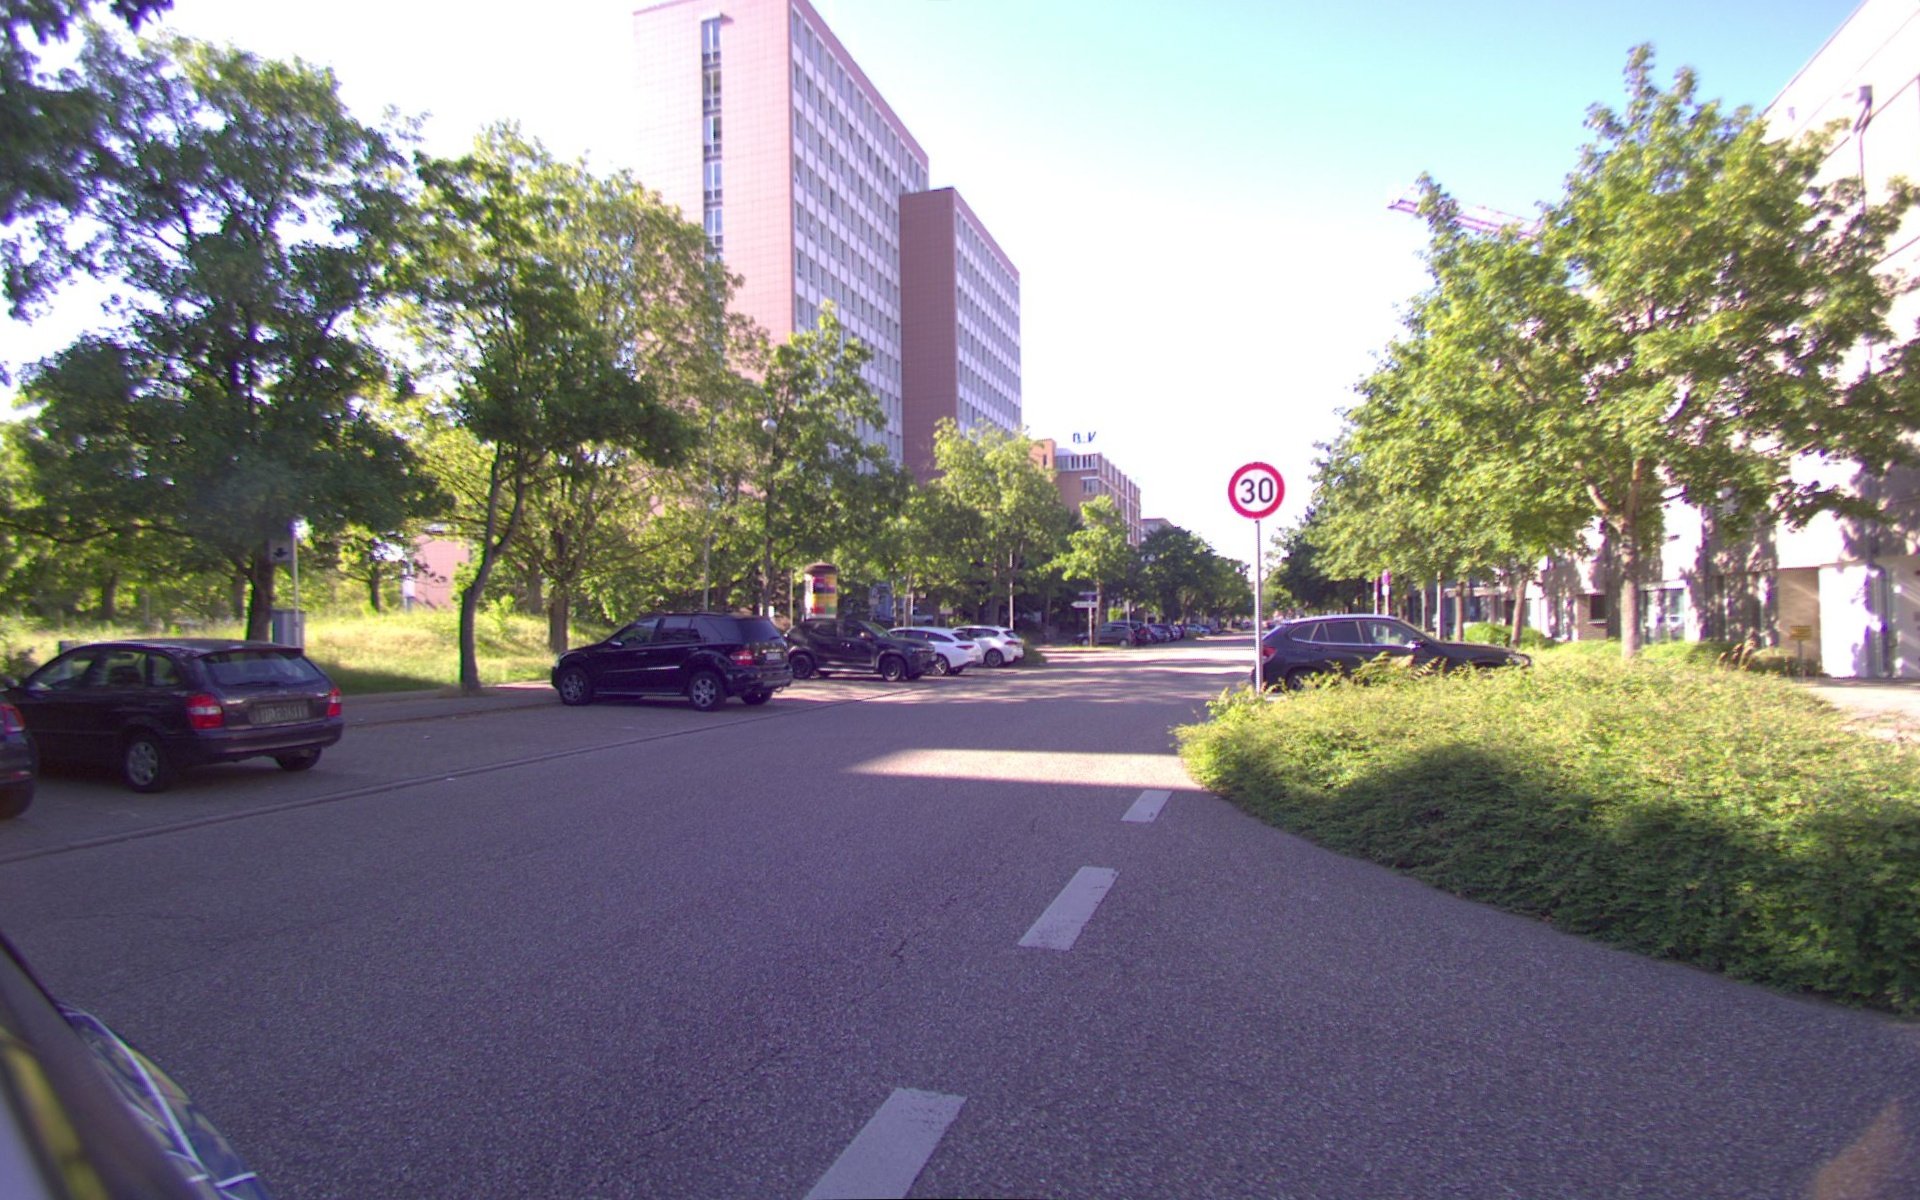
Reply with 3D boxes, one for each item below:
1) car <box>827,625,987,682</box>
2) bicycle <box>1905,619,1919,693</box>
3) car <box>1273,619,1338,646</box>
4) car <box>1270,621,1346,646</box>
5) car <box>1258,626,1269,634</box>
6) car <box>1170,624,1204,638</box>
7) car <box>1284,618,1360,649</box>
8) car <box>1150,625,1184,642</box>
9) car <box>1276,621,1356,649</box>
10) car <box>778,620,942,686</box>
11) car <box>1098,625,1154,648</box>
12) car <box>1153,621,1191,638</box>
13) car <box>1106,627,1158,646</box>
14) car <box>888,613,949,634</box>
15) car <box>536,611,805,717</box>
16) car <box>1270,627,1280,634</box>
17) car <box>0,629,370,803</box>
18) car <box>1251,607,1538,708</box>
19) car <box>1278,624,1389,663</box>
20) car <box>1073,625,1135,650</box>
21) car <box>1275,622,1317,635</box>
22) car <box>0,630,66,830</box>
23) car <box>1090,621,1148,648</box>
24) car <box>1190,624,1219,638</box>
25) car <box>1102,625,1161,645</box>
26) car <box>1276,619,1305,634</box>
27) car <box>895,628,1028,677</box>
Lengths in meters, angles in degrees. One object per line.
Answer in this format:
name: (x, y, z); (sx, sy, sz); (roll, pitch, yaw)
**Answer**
car: (-1.570, 1.601, 30.287); (4.417, 1.557, 1.808); (-2, -2, 16)
bicycle: (13.776, 0.784, 13.756); (0.435, 1.055, 2.180); (-2, -2, 18)
car: (23.502, 2.212, 68.946); (4.095, 1.633, 1.791); (-3, -2, 20)
car: (22.708, 2.192, 66.189); (4.480, 1.462, 1.932); (-3, -2, 15)
car: (64.080, 6.343, 213.854); (1.939, 1.639, 3.972); (-1, -2, 21)
car: (28.615, 3.904, 127.511); (4.130, 1.719, 1.989); (-2, -2, 17)
car: (21.853, 2.041, 61.213); (4.206, 1.614, 1.940); (-3, -2, 19)
car: (20.207, 3.219, 98.760); (3.034, 1.617, 1.593); (0, -1, 21)
car: (20.507, 2.017, 58.456); (4.237, 1.491, 1.789); (-2, -2, 18)
car: (-2.699, 1.375, 27.382); (4.096, 1.630, 1.724); (0, 0, 17)
car: (11.854, 2.607, 72.119); (3.845, 1.577, 1.801); (0, -1, 14)
car: (19.140, 2.673, 91.439); (3.185, 1.490, 1.577); (-1, -1, 22)
car: (13.080, 2.773, 77.039); (3.658, 1.432, 1.712); (0, -1, 21)
car: (-3.387, 1.894, 82.371); (4.687, 1.699, 1.866); (0, -2, 15)
car: (-5.422, 1.125, 19.036); (4.566, 1.792, 1.987); (0, -1, 19)
car: (69.408, 6.697, 222.914); (1.755, 1.383, 3.972); (-1, -2, 21)
car: (-8.401, 1.067, 10.460); (3.968, 1.397, 1.811); (1, -1, 19)
car: (7.131, 0.971, 17.020); (4.174, 1.531, 1.760); (-2, -2, 20)
car: (14.861, 1.720, 40.478); (3.963, 1.422, 1.808); (-2, -2, 15)
car: (9.421, 2.466, 66.205); (3.813, 1.458, 1.583); (2, -3, 16)
car: (45.153, 3.846, 135.875); (5.218, 1.637, 1.940); (-2, -2, 20)
car: (-9.232, 0.965, 7.824); (3.786, 1.510, 1.693); (1, -1, 16)
car: (10.783, 2.304, 68.510); (3.658, 1.764, 1.712); (0, -1, 21)
car: (34.949, 4.400, 144.633); (3.962, 1.797, 1.944); (-2, -2, 14)
car: (13.588, 2.761, 80.021); (4.397, 1.565, 1.849); (0, -2, 18)
car: (50.409, 4.095, 154.439); (3.965, 2.123, 1.989); (-2, -2, 17)
car: (0.070, 1.836, 36.190); (4.402, 1.605, 1.827); (1, -1, 16)
